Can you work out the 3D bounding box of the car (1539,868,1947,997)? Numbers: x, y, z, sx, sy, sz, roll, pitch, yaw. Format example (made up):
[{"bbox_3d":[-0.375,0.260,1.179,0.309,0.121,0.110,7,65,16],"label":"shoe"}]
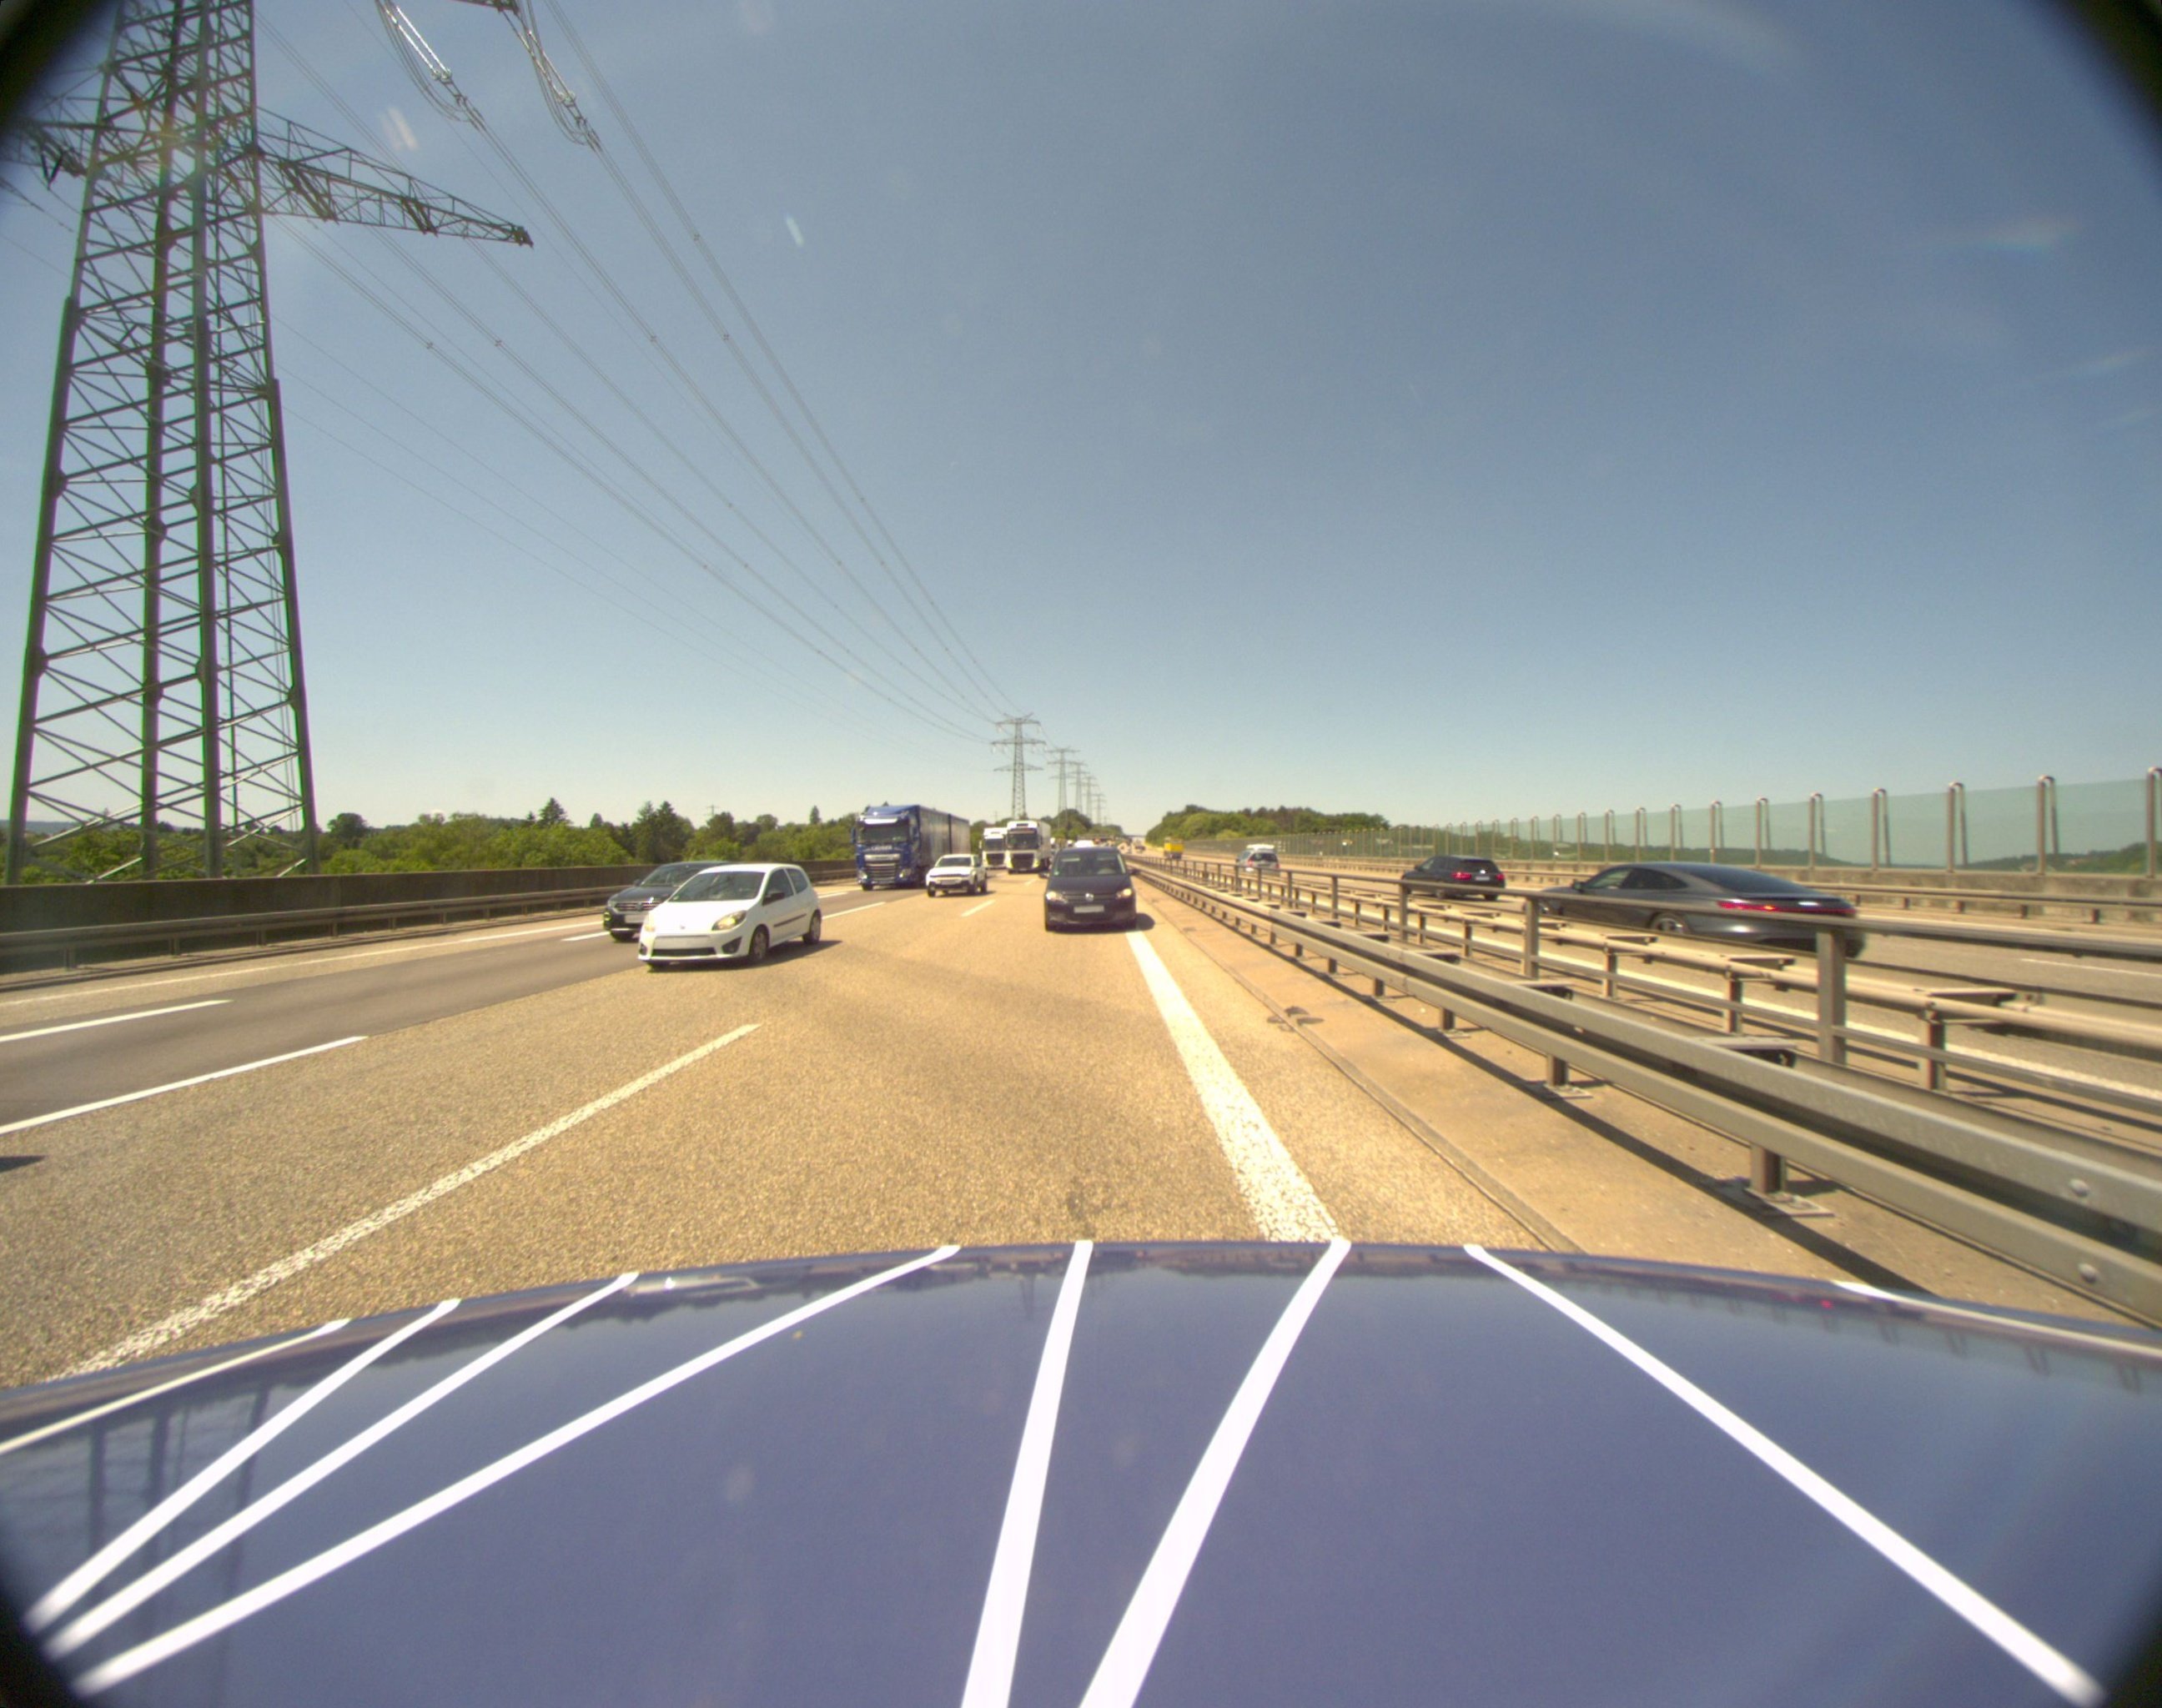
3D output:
[{"bbox_3d":[8.656,0.912,10.613,1.901,1.307,4.371,0,1,1],"label":"car"}]

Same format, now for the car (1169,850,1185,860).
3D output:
[{"bbox_3d":[14.252,0.095,112.456,1.860,1.389,4.675,0,1,1],"label":"car"}]

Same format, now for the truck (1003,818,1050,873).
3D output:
[{"bbox_3d":[-4.083,-0.685,58.494,2.914,3.870,6.739,-2,1,0],"label":"truck"}]

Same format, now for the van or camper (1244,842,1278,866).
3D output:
[{"bbox_3d":[17.587,-0.046,74.603,1.998,2.199,5.536,1,1,0],"label":"van or camper"}]

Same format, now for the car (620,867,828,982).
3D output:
[{"bbox_3d":[-5.485,0.997,12.216,1.584,1.432,3.629,-2,1,0],"label":"car"}]

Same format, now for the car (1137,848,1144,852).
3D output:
[{"bbox_3d":[17.822,-1.226,228.642,1.767,1.374,4.078,0,1,0],"label":"car"}]

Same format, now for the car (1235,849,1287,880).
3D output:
[{"bbox_3d":[9.145,0.493,38.825,1.845,1.520,3.558,0,1,1],"label":"car"}]

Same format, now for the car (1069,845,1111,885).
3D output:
[{"bbox_3d":[0.380,0.458,33.141,1.685,1.607,3.642,-2,1,0],"label":"car"}]

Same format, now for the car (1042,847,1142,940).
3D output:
[{"bbox_3d":[0.200,0.697,15.539,1.739,1.607,3.911,-2,1,0],"label":"car"}]

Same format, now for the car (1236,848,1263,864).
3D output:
[{"bbox_3d":[17.590,0.161,79.502,1.860,1.537,4.200,1,1,0],"label":"car"}]

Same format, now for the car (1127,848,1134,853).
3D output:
[{"bbox_3d":[14.078,-0.960,217.751,1.762,1.440,4.286,1,1,0],"label":"car"}]

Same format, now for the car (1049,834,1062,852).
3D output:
[{"bbox_3d":[-4.952,-2.136,149.152,2.273,3.304,6.287,-2,1,0],"label":"car"}]

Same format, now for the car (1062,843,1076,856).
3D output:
[{"bbox_3d":[-1.942,-0.750,120.189,1.998,2.002,3.999,-2,1,1],"label":"car"}]

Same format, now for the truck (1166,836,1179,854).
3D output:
[{"bbox_3d":[20.190,-1.993,167.631,2.420,4.035,5.543,1,1,3],"label":"truck"}]

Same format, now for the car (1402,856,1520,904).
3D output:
[{"bbox_3d":[12.450,0.803,25.231,1.805,1.378,4.262,0,1,1],"label":"car"}]

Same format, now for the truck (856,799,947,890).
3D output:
[{"bbox_3d":[-8.639,-0.433,37.569,2.517,3.945,7.926,-2,0,0],"label":"truck"}]

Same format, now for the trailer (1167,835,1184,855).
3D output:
[{"bbox_3d":[19.893,-1.963,160.499,2.428,4.040,13.802,0,1,2],"label":"trailer"}]

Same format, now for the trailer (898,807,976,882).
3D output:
[{"bbox_3d":[-8.624,-0.624,46.981,2.543,3.971,10.883,-2,1,0],"label":"trailer"}]

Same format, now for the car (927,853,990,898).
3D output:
[{"bbox_3d":[-4.592,0.775,28.920,1.722,1.526,3.753,-2,1,0],"label":"car"}]

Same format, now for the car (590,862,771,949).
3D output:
[{"bbox_3d":[-8.298,0.987,16.174,1.709,1.497,3.888,-2,1,1],"label":"car"}]

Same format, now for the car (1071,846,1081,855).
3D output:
[{"bbox_3d":[-0.997,-0.683,152.766,1.701,1.599,3.639,-2,1,1],"label":"car"}]

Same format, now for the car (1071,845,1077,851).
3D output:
[{"bbox_3d":[-2.290,-1.906,234.963,1.701,1.599,3.639,-2,1,1],"label":"car"}]

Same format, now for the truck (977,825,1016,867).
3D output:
[{"bbox_3d":[-8.167,-0.822,74.547,2.914,3.870,6.739,-2,1,0],"label":"truck"}]

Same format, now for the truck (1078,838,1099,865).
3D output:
[{"bbox_3d":[0.812,-0.282,81.390,2.100,2.700,5.864,-2,1,1],"label":"truck"}]

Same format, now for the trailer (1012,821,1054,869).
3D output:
[{"bbox_3d":[-4.087,-0.831,66.746,2.898,3.847,9.772,-2,1,0],"label":"trailer"}]
